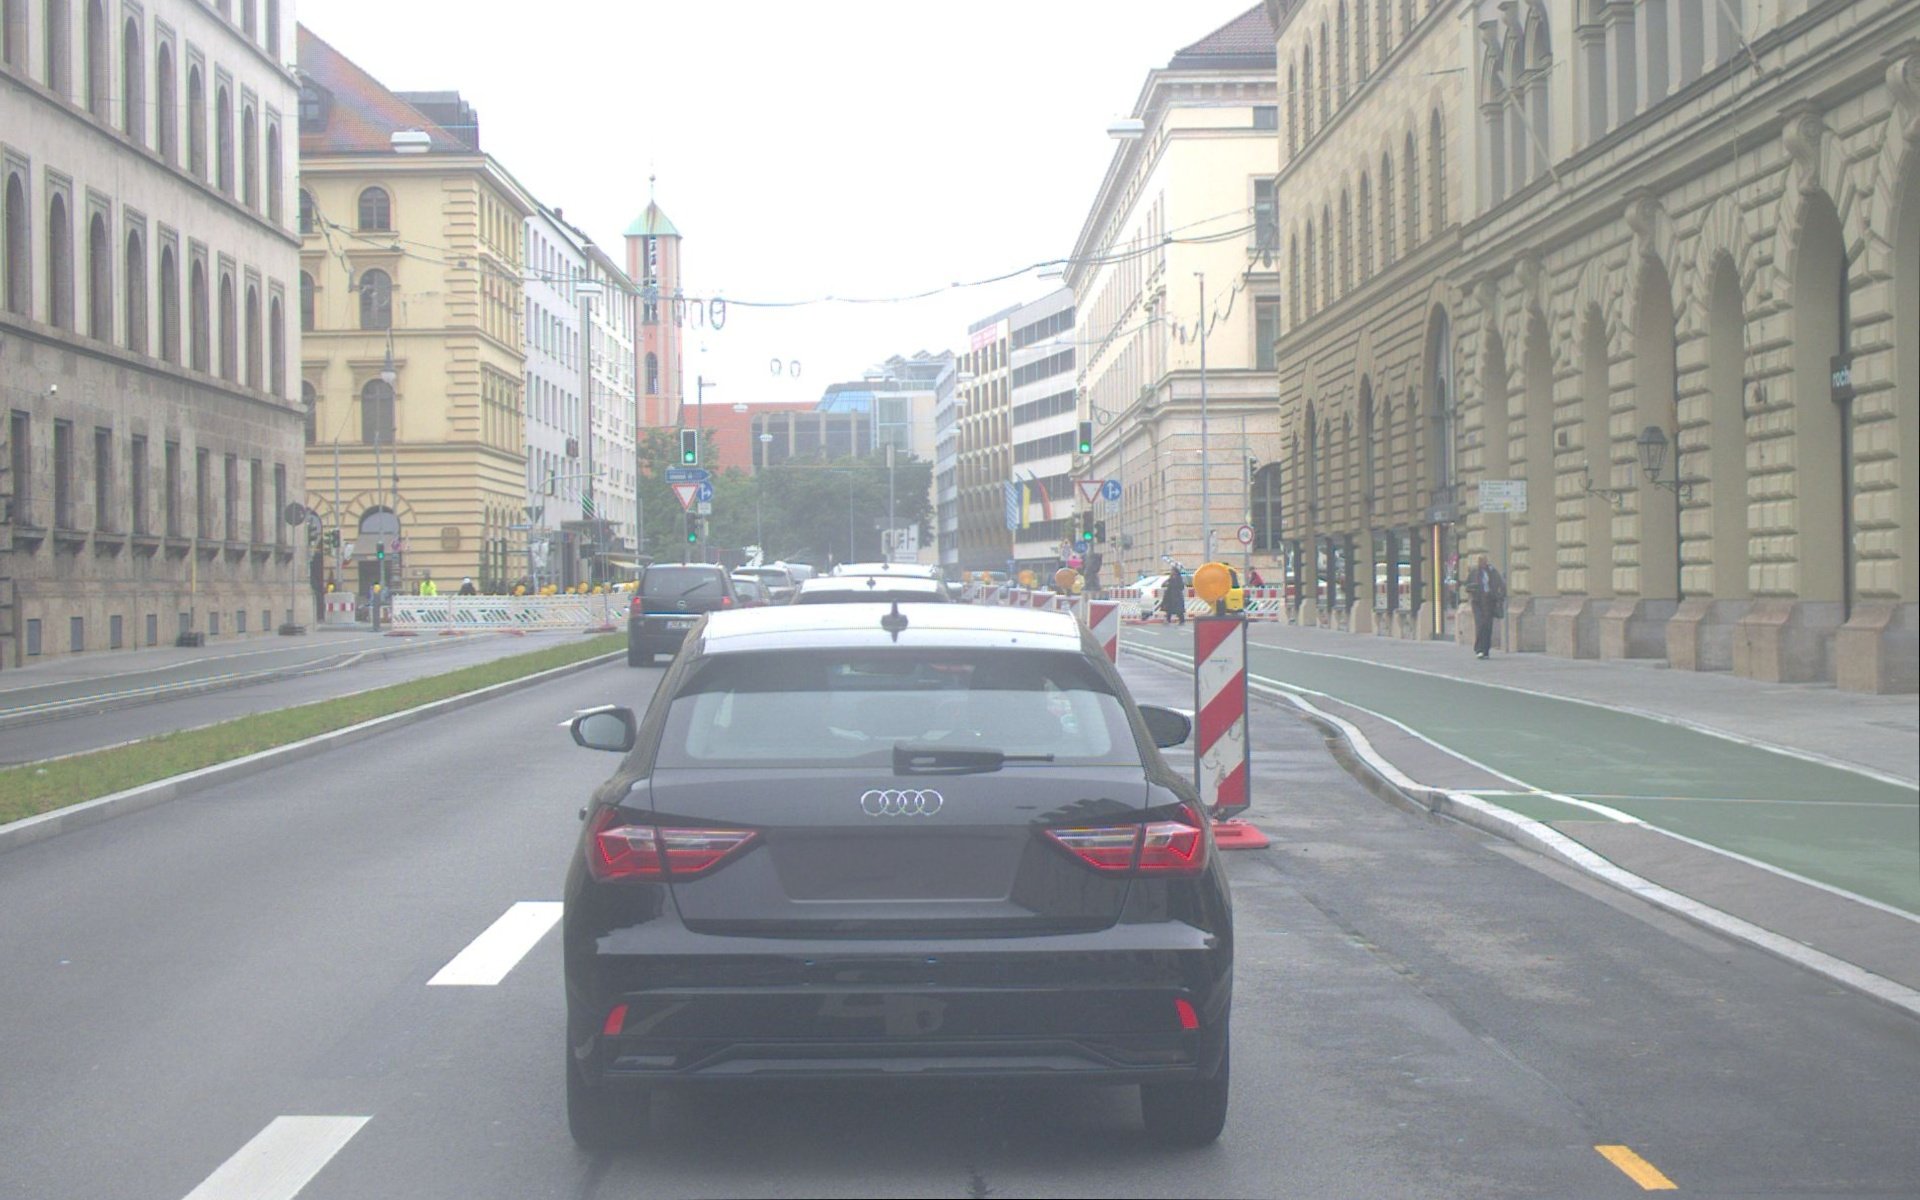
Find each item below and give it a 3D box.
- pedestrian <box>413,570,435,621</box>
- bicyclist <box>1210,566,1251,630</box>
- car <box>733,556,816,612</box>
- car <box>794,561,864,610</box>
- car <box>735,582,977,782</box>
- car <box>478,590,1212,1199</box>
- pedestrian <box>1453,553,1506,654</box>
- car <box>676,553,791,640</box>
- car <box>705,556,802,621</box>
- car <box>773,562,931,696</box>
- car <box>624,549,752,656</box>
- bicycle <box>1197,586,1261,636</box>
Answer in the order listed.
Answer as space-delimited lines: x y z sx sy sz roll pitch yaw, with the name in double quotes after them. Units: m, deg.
-19.002 -0.149 121.928 0.656 1.799 0.727 -1 0 -1 "pedestrian"
6.318 -0.047 80.385 0.709 1.495 0.754 -1 1 -18 "bicyclist"
-4.883 -0.429 90.883 1.993 1.439 4.000 -1 1 0 "car"
-3.945 -0.466 104.298 1.993 1.439 4.000 -1 1 0 "car"
-0.786 0.585 26.920 1.730 1.398 4.000 1 1 -1 "car"
-0.305 0.702 10.188 1.730 1.398 4.000 1 1 -1 "car"
8.328 0.053 55.096 0.710 1.612 0.754 -1 0 -1 "pedestrian"
-4.382 -0.091 67.049 1.993 1.622 4.000 -1 1 0 "car"
-4.700 -0.275 78.803 1.993 1.439 4.000 -1 1 0 "car"
-1.225 0.299 40.107 1.730 1.456 4.000 1 1 -1 "car"
-4.280 0.010 54.593 1.764 1.610 4.030 1 1 -1 "car"
6.295 0.248 80.465 0.728 1.152 2.172 -1 1 -17 "bicycle"
